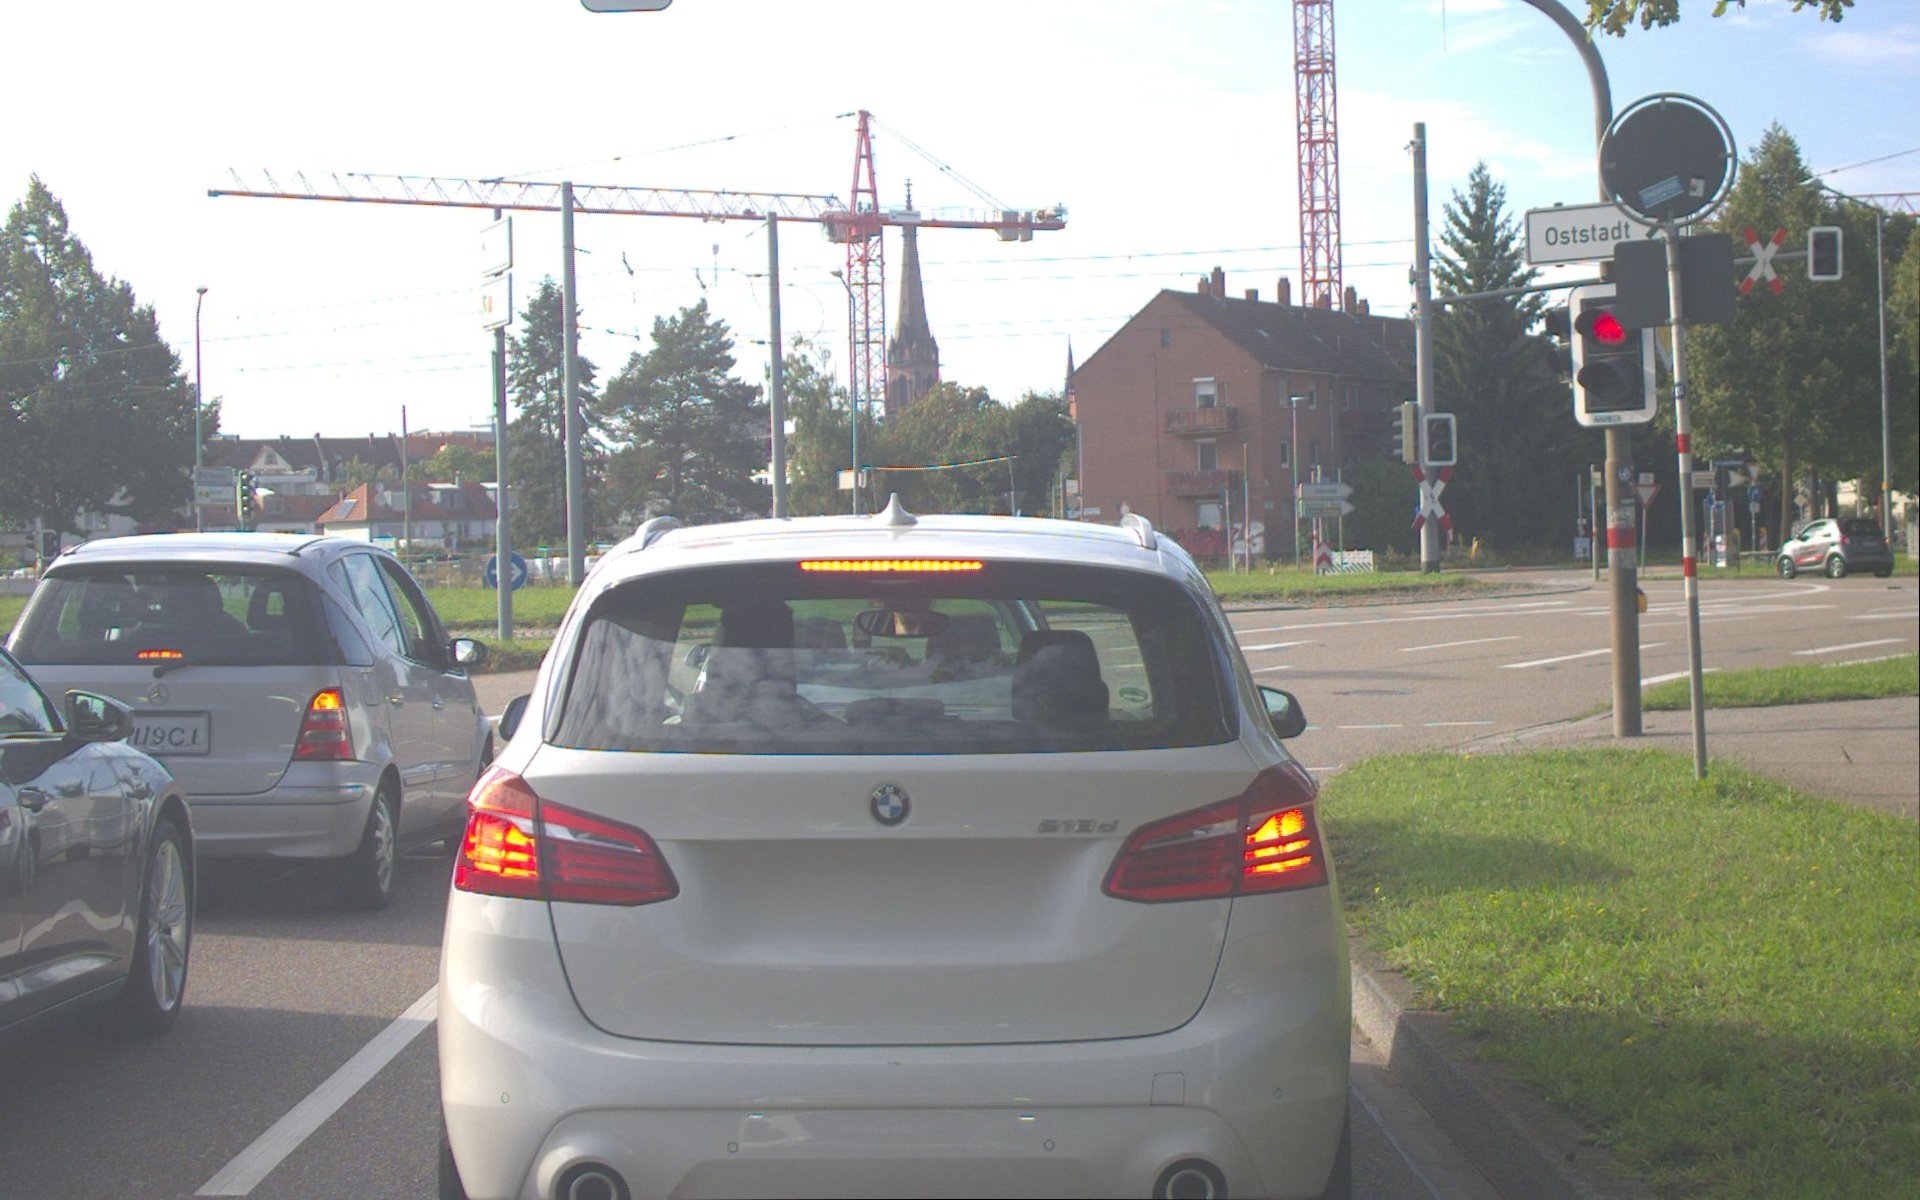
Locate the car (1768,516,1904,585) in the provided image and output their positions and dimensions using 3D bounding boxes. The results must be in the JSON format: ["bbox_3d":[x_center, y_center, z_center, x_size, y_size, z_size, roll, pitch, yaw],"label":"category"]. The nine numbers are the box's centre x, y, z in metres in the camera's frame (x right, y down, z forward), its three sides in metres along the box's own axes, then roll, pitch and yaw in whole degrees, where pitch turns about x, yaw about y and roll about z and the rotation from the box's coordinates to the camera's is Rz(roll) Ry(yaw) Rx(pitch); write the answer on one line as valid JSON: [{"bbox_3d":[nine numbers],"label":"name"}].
[{"bbox_3d":[21.979,-1.233,86.340,1.569,1.568,3.199,-4,1,-24],"label":"car"}]

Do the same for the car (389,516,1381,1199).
[{"bbox_3d":[-0.158,0.596,8.030,1.729,1.553,4.058,0,1,-1],"label":"car"}]

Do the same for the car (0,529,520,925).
[{"bbox_3d":[-3.106,0.466,15.528,1.729,1.553,4.058,0,1,0],"label":"car"}]

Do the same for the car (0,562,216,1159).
[{"bbox_3d":[-3.324,0.640,8.815,1.890,1.478,4.613,0,1,-1],"label":"car"}]
